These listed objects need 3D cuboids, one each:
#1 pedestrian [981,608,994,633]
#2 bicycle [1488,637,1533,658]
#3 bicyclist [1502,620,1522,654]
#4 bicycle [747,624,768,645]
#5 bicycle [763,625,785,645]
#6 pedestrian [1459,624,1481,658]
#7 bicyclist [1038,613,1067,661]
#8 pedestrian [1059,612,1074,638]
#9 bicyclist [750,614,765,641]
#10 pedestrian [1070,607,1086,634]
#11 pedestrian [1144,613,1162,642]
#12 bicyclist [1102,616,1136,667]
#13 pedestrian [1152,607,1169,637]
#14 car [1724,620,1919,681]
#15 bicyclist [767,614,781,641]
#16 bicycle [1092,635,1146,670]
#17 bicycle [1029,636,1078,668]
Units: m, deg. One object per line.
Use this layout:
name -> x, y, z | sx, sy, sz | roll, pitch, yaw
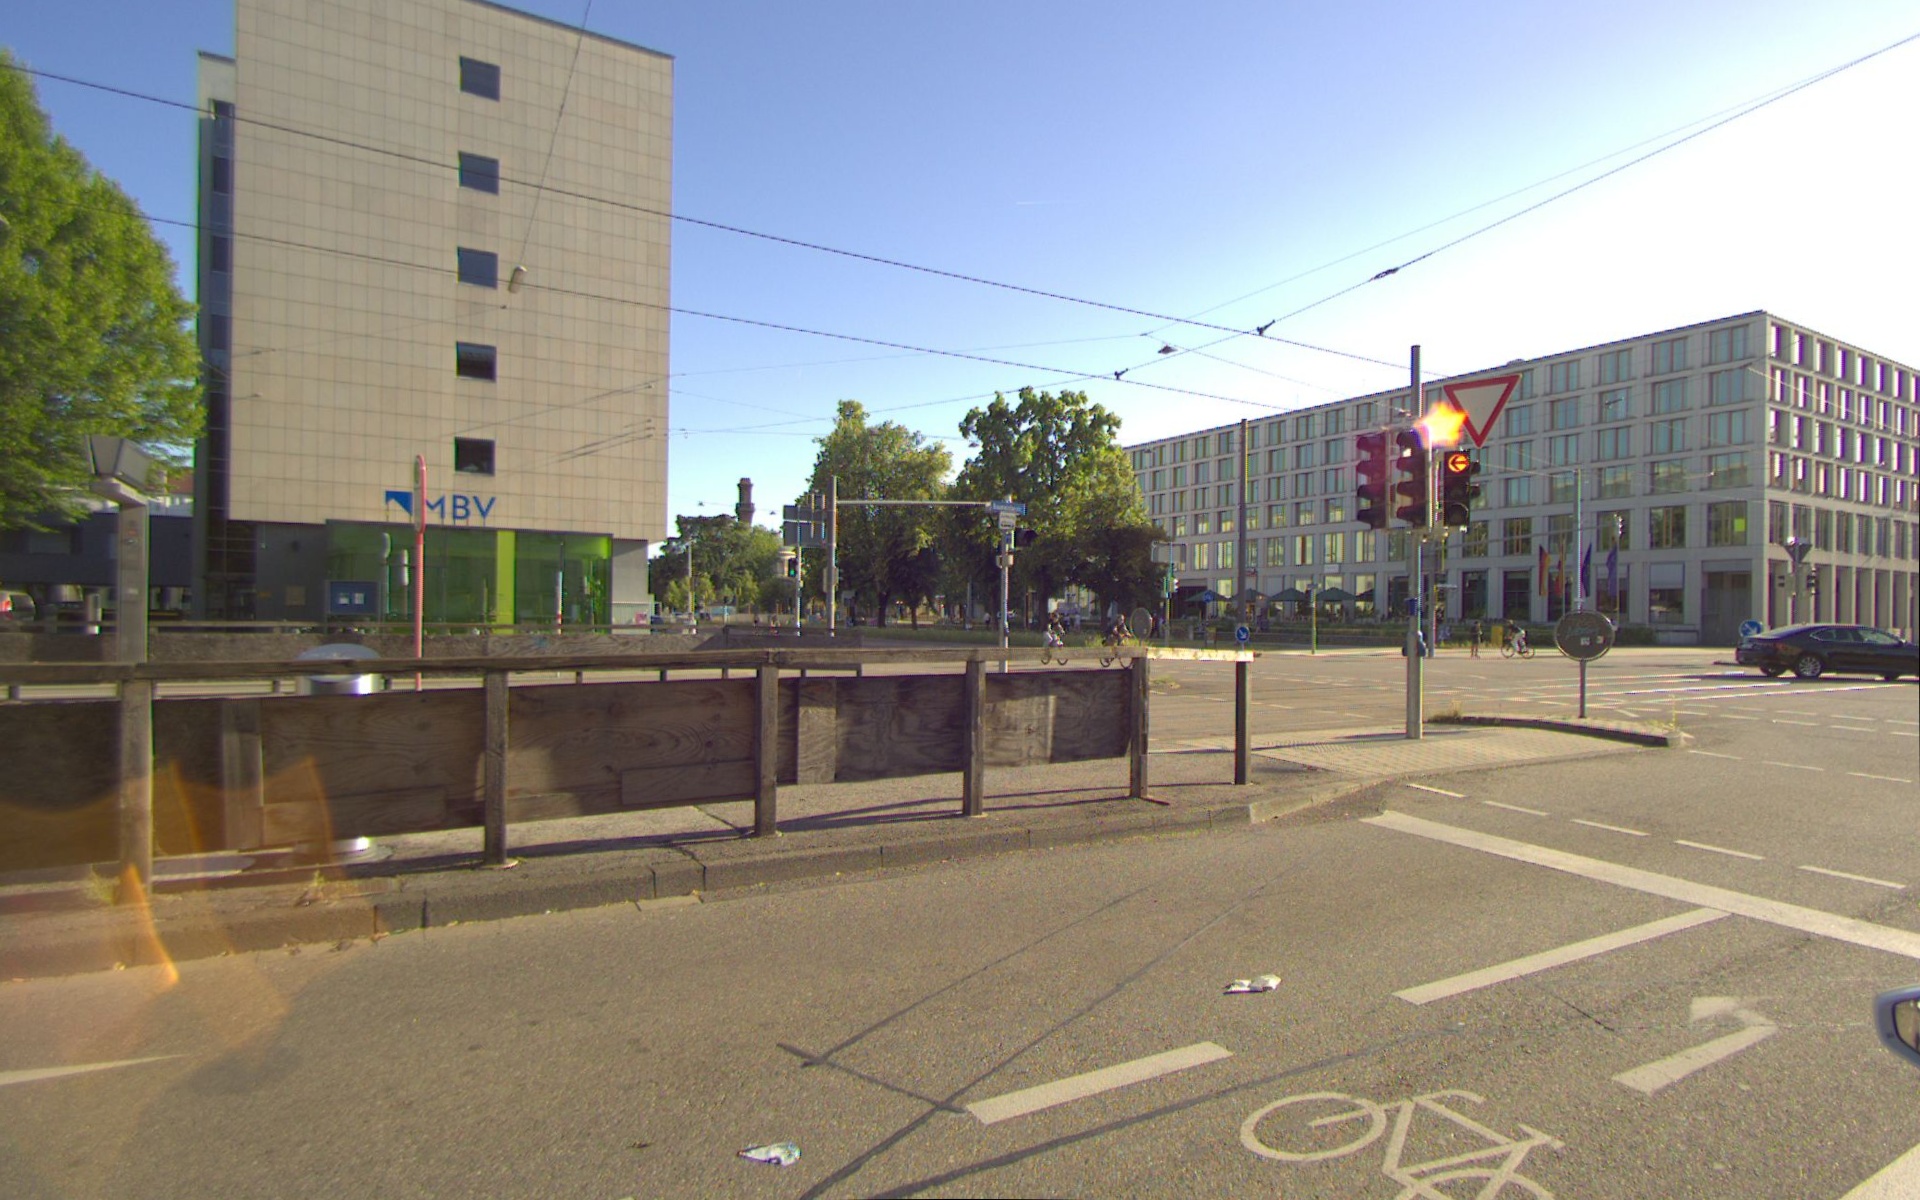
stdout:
pedestrian -> 2.321, 1.754, 85.250 | 0.813, 2.040, 0.840 | 2, 0, -25
bicycle -> 26.650, 2.303, 48.657 | 1.833, 0.947, 0.760 | 0, -1, 37
bicyclist -> 26.717, 1.771, 48.615 | 0.765, 1.610, 0.759 | 0, -1, 37
bicycle -> -11.672, 1.989, 57.853 | 0.574, 1.148, 1.776 | 1, -1, -31
bicycle -> -10.804, 2.023, 58.350 | 0.616, 1.148, 1.869 | 1, -1, -31
pedestrian -> 24.947, 1.994, 49.125 | 0.586, 1.610, 0.768 | 1, -1, -40
bicyclist -> 3.015, 1.207, 32.830 | 0.600, 1.544, 0.758 | 1, -1, -34
pedestrian -> 8.008, 1.895, 75.522 | 0.863, 1.925, 0.713 | 2, 0, -26
bicyclist -> -11.644, 1.593, 57.825 | 0.647, 1.544, 0.615 | 1, -1, -32
pedestrian -> 8.925, 1.530, 76.005 | 0.814, 2.040, 0.839 | 2, 0, -26
pedestrian -> 13.002, 1.848, 67.722 | 0.862, 1.925, 0.714 | 2, 0, -21
bicyclist -> 4.637, 1.196, 29.331 | 0.610, 1.470, 0.795 | 1, -1, -29
pedestrian -> 13.710, 1.484, 68.750 | 0.812, 2.040, 0.841 | 2, 0, -20
car -> 23.522, 1.325, 27.047 | 4.343, 1.474, 1.666 | 1, 0, 15
bicyclist -> -10.820, 1.607, 58.405 | 0.602, 1.544, 0.709 | 1, -1, -32
bicycle -> 4.623, 1.527, 29.361 | 0.638, 0.947, 1.735 | 1, -1, -29
bicycle -> 3.032, 1.683, 32.784 | 0.554, 0.947, 1.846 | 1, -1, -34
